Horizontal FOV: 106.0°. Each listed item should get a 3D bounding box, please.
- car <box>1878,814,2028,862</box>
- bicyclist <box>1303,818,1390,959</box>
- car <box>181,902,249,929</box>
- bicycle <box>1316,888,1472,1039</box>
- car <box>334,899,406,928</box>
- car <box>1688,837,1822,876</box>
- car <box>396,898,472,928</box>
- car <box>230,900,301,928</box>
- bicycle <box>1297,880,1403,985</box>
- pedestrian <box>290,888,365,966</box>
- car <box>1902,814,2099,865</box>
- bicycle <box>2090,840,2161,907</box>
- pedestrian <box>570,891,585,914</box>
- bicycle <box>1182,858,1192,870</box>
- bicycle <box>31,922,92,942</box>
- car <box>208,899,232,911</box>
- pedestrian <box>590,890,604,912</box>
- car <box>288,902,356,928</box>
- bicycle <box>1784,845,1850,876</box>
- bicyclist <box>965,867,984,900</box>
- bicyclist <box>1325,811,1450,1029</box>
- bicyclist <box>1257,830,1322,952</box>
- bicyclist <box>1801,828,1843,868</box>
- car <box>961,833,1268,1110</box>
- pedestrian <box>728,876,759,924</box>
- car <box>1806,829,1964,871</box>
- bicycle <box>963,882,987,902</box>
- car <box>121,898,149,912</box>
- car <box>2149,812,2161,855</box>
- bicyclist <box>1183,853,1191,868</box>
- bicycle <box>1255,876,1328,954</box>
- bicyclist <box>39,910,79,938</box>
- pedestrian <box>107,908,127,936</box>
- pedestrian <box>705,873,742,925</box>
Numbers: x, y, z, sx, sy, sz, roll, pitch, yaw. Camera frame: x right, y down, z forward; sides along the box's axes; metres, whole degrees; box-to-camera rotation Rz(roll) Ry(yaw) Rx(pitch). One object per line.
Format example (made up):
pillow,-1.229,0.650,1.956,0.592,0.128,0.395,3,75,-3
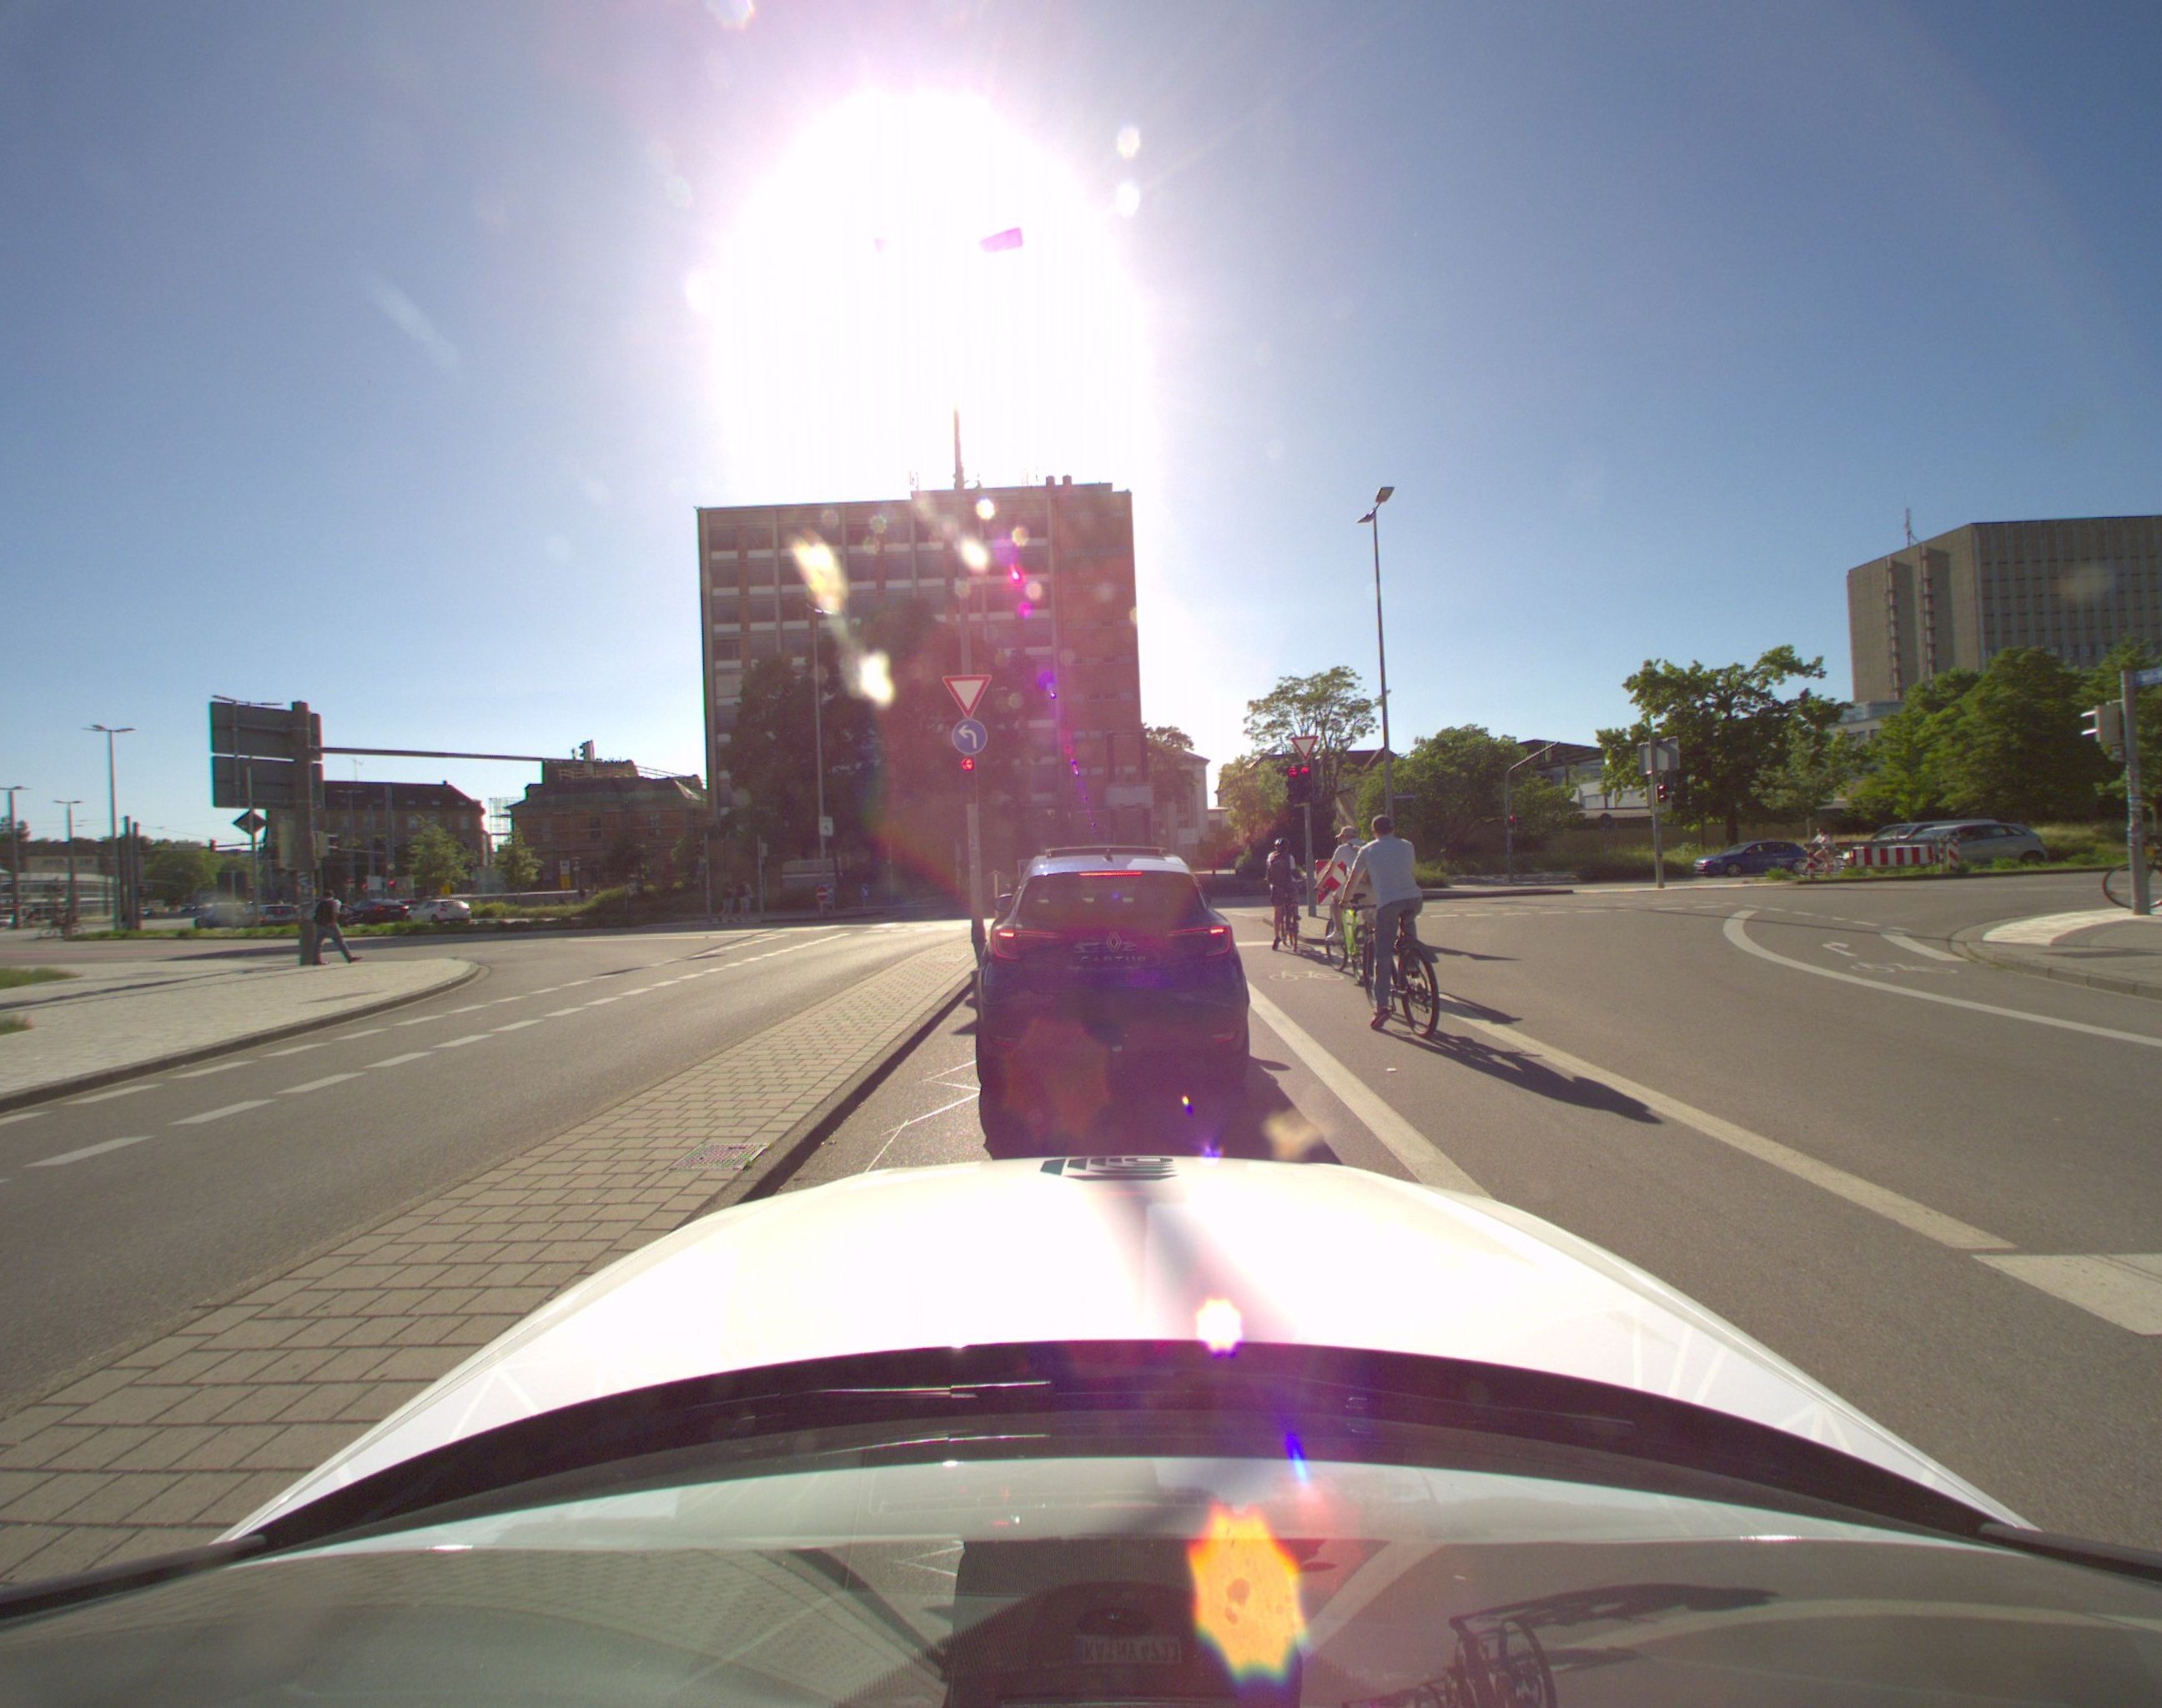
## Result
car,35.872,-0.619,33.605,3.965,1.749,1.798,-2,-1,7
bicyclist,3.188,0.399,9.876,0.676,1.594,1.142,-1,-1,2
car,-54.912,3.887,51.633,3.834,1.508,1.805,-3,-1,25
bicycle,2.719,0.897,7.317,0.687,1.089,1.923,-1,0,2
car,-42.550,3.559,48.737,3.834,1.508,1.805,-3,-1,25
car,28.136,0.105,34.105,3.965,1.398,1.798,-2,-1,7
car,-36.394,3.332,45.832,3.834,1.508,1.805,-3,-1,25
car,-48.863,3.600,48.801,3.834,1.508,1.805,-3,-1,25
bicycle,3.201,0.888,9.896,0.687,1.089,1.923,-1,0,2
pedestrian,-17.621,1.690,19.064,0.647,1.730,1.066,-3,-1,15
car,29.222,-0.434,25.999,3.965,1.398,1.798,-2,-1,7
bicycle,15.917,0.266,11.624,0.640,0.958,1.866,-2,-1,-39
pedestrian,-39.403,3.761,63.706,0.680,1.730,0.759,-2,-1,-7
bicycle,11.190,1.052,85.960,0.692,1.140,2.441,-2,0,1
bicycle,-65.781,4.999,52.579,0.800,1.062,2.434,-1,-1,41
car,-154.021,9.138,145.724,1.797,2.013,3.963,-2,-1,-29
pedestrian,-39.515,3.841,66.497,0.678,1.730,0.761,-2,-1,-1
car,-48.206,3.865,51.705,3.834,1.508,1.805,-3,-1,25
bicycle,26.124,0.234,28.928,1.673,1.033,0.612,-2,-1,7
bicyclist,-5.759,1.607,44.068,0.751,1.716,1.001,-2,-1,7
bicyclist,2.711,0.552,7.327,0.680,1.791,1.142,-1,-1,2
bicyclist,3.216,0.557,12.658,0.697,1.791,1.142,-1,-1,2
bicyclist,26.284,-0.212,28.911,0.870,1.343,0.612,-2,-1,7
car,0.200,0.702,6.764,1.783,1.585,3.913,-1,0,0
pedestrian,-12.623,1.710,30.458,0.675,1.730,0.764,-3,-1,15
car,30.298,-0.137,30.791,3.965,1.398,1.798,-2,-1,7
bicycle,-5.726,2.041,44.168,0.751,0.985,2.098,-2,0,8
car,-152.873,8.281,131.618,2.008,2.014,3.956,0,-1,-35
car,36.903,-0.763,25.329,4.534,1.398,1.798,-3,-1,7
bicyclist,11.176,0.684,85.914,0.692,1.481,0.717,-2,-1,1
bicycle,3.266,0.915,12.831,0.687,1.089,1.923,-1,0,2
bicyclist,-65.888,4.492,52.503,0.800,1.634,1.586,-1,-1,39
pedestrian,-63.364,4.486,53.519,0.697,1.762,0.781,-3,-1,44
pedestrian,-13.477,1.687,30.730,0.807,1.862,0.913,-3,-1,15
